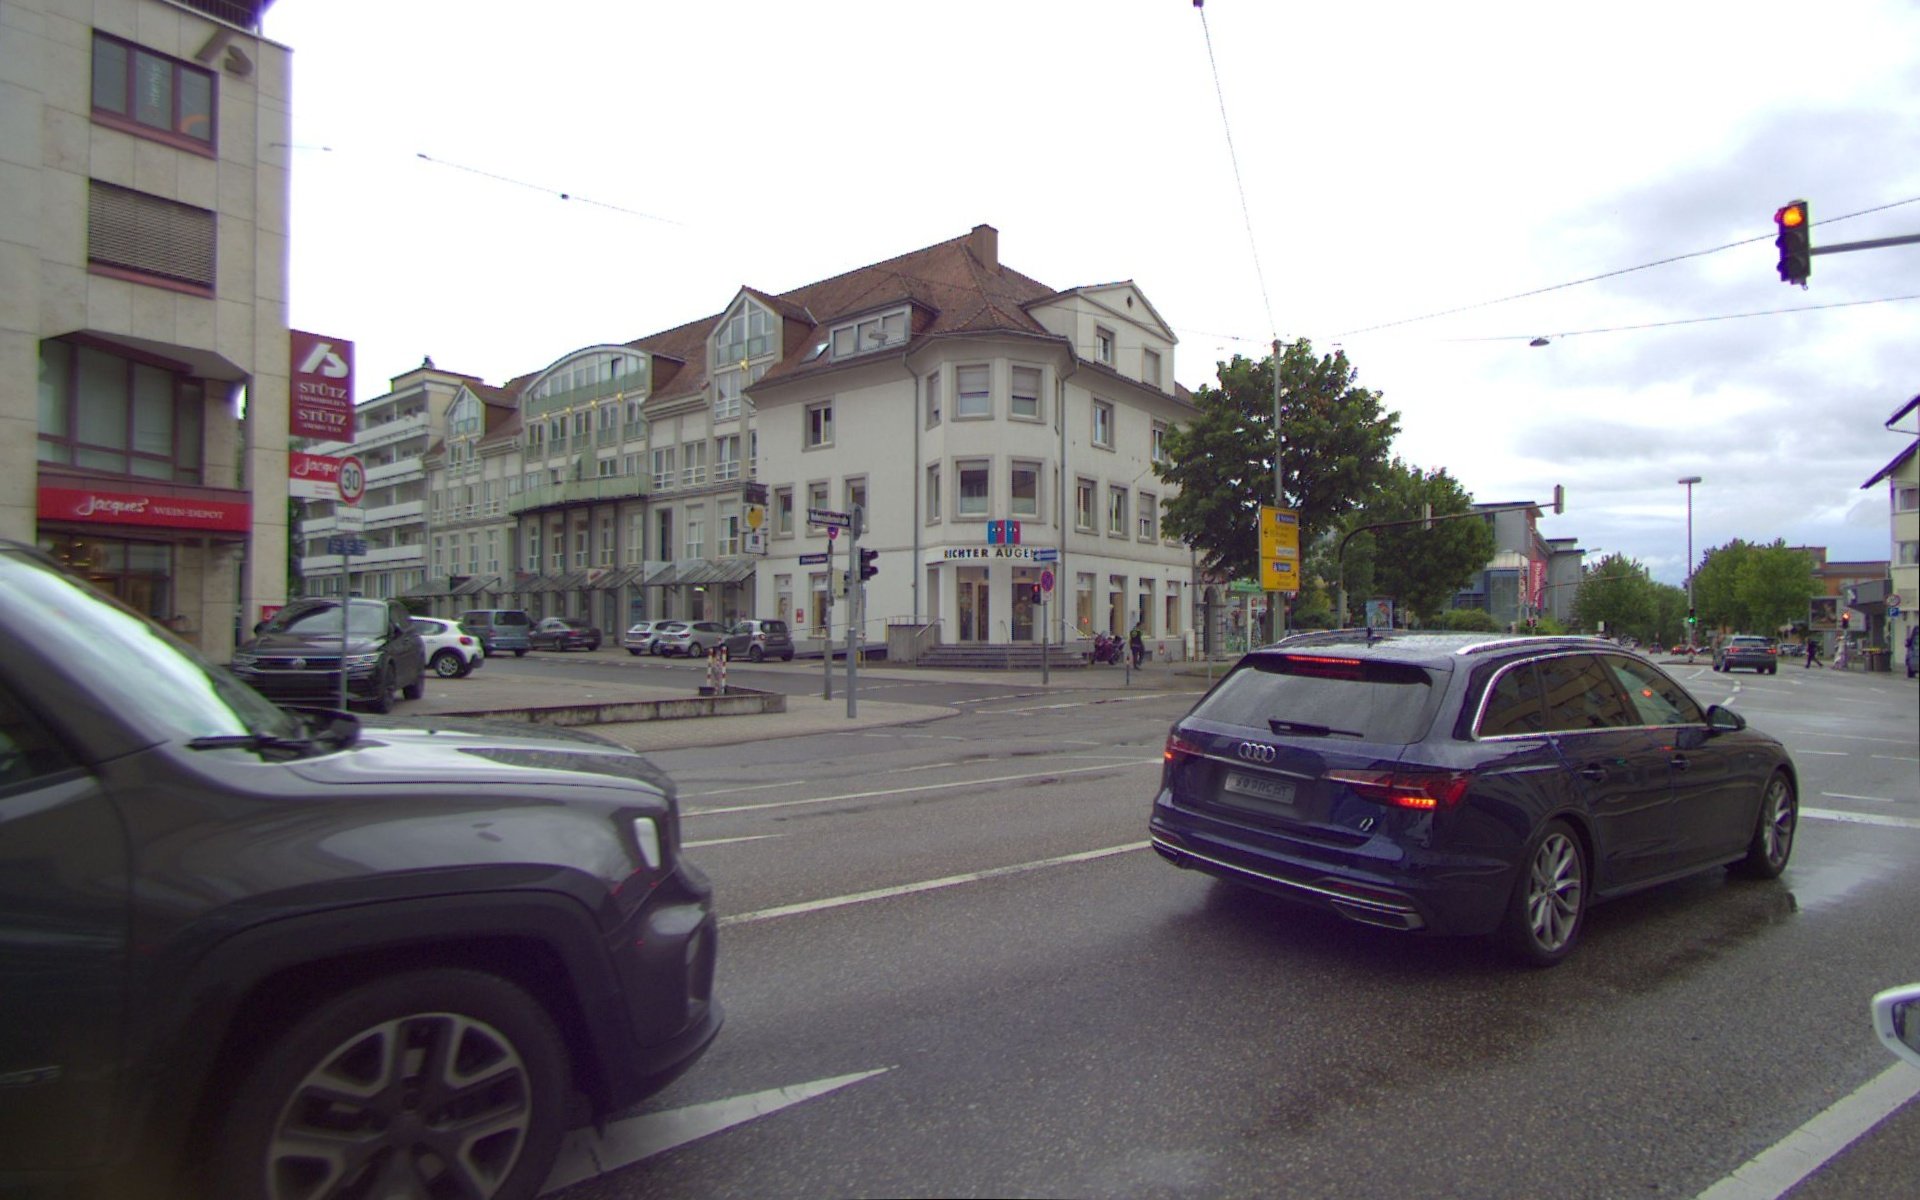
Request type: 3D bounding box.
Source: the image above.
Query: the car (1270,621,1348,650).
[{"bbox_3d":[22.822,2.315,65.784,1.984,1.817,4.495,1,-1,-41],"label":"car"}]

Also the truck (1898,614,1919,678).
[{"bbox_3d":[38.056,1.787,38.722,1.998,2.421,4.226,1,0,33],"label":"truck"}]

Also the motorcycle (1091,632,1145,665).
[{"bbox_3d":[6.029,1.838,38.158,0.711,1.194,2.575,-1,-1,43],"label":"motorcycle"}]

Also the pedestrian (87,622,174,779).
[{"bbox_3d":[-8.684,1.024,10.513,0.751,1.550,0.506,2,0,38],"label":"pedestrian"}]

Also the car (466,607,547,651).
[{"bbox_3d":[-22.306,1.407,49.352,3.937,2.040,1.992,-1,-1,38],"label":"car"}]

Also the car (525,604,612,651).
[{"bbox_3d":[-17.851,1.244,45.747,3.938,2.040,1.992,-1,-1,39],"label":"car"}]

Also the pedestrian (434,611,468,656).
[{"bbox_3d":[-21.378,1.413,42.240,1.169,1.853,1.061,1,-1,-22],"label":"pedestrian"}]

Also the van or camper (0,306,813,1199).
[{"bbox_3d":[-2.573,0.596,2.124,4.101,2.175,1.843,1,-2,-35],"label":"van or camper"}]

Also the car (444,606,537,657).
[{"bbox_3d":[-20.017,1.318,42.808,3.936,2.040,1.992,-1,-1,37],"label":"car"}]

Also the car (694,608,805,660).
[{"bbox_3d":[-7.960,1.252,37.850,3.936,1.839,1.993,-1,-2,37],"label":"car"}]

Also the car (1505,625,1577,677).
[{"bbox_3d":[21.298,1.810,36.758,1.821,1.706,3.986,2,0,36],"label":"car"}]

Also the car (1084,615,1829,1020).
[{"bbox_3d":[3.031,0.857,5.669,4.638,1.424,1.791,2,-1,-35],"label":"car"}]

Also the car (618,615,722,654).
[{"bbox_3d":[-12.308,1.450,42.774,1.844,1.612,3.987,0,-2,35],"label":"car"}]

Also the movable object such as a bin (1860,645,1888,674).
[{"bbox_3d":[43.092,2.786,47.366,0.738,1.248,0.981,5,2,34],"label":"movable object such as a bin"}]

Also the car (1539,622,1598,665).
[{"bbox_3d":[24.800,1.752,40.865,1.741,1.656,3.612,0,-1,37],"label":"car"}]

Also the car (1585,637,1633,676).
[{"bbox_3d":[36.346,3.107,56.203,1.968,2.040,3.985,-1,-2,37],"label":"car"}]

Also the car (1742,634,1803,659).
[{"bbox_3d":[75.852,4.322,93.814,3.923,2.040,1.999,3,1,23],"label":"car"}]

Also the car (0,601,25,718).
[{"bbox_3d":[-12.907,0.765,11.629,1.862,1.546,4.429,1,-1,-27],"label":"car"}]

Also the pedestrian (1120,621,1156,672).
[{"bbox_3d":[6.166,1.584,34.714,0.949,1.731,0.932,0,-1,33],"label":"pedestrian"}]

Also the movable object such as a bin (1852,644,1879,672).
[{"bbox_3d":[44.004,2.808,48.828,0.738,1.248,0.981,5,2,34],"label":"movable object such as a bin"}]

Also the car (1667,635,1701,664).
[{"bbox_3d":[53.809,3.675,74.715,1.967,2.040,3.988,0,-2,34],"label":"car"}]

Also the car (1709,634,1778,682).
[{"bbox_3d":[32.377,2.337,41.581,1.967,1.840,3.988,0,-1,34],"label":"car"}]

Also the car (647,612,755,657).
[{"bbox_3d":[-10.560,1.386,41.240,1.967,1.753,3.988,0,-2,35],"label":"car"}]

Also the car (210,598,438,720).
[{"bbox_3d":[-9.227,0.808,15.014,1.924,1.526,4.413,1,-2,-20],"label":"car"}]

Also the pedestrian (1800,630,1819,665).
[{"bbox_3d":[47.907,2.685,56.640,0.712,1.962,0.791,0,-1,32],"label":"pedestrian"}]

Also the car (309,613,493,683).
[{"bbox_3d":[-13.999,1.210,25.370,3.700,1.519,1.577,4,-2,-17],"label":"car"}]
